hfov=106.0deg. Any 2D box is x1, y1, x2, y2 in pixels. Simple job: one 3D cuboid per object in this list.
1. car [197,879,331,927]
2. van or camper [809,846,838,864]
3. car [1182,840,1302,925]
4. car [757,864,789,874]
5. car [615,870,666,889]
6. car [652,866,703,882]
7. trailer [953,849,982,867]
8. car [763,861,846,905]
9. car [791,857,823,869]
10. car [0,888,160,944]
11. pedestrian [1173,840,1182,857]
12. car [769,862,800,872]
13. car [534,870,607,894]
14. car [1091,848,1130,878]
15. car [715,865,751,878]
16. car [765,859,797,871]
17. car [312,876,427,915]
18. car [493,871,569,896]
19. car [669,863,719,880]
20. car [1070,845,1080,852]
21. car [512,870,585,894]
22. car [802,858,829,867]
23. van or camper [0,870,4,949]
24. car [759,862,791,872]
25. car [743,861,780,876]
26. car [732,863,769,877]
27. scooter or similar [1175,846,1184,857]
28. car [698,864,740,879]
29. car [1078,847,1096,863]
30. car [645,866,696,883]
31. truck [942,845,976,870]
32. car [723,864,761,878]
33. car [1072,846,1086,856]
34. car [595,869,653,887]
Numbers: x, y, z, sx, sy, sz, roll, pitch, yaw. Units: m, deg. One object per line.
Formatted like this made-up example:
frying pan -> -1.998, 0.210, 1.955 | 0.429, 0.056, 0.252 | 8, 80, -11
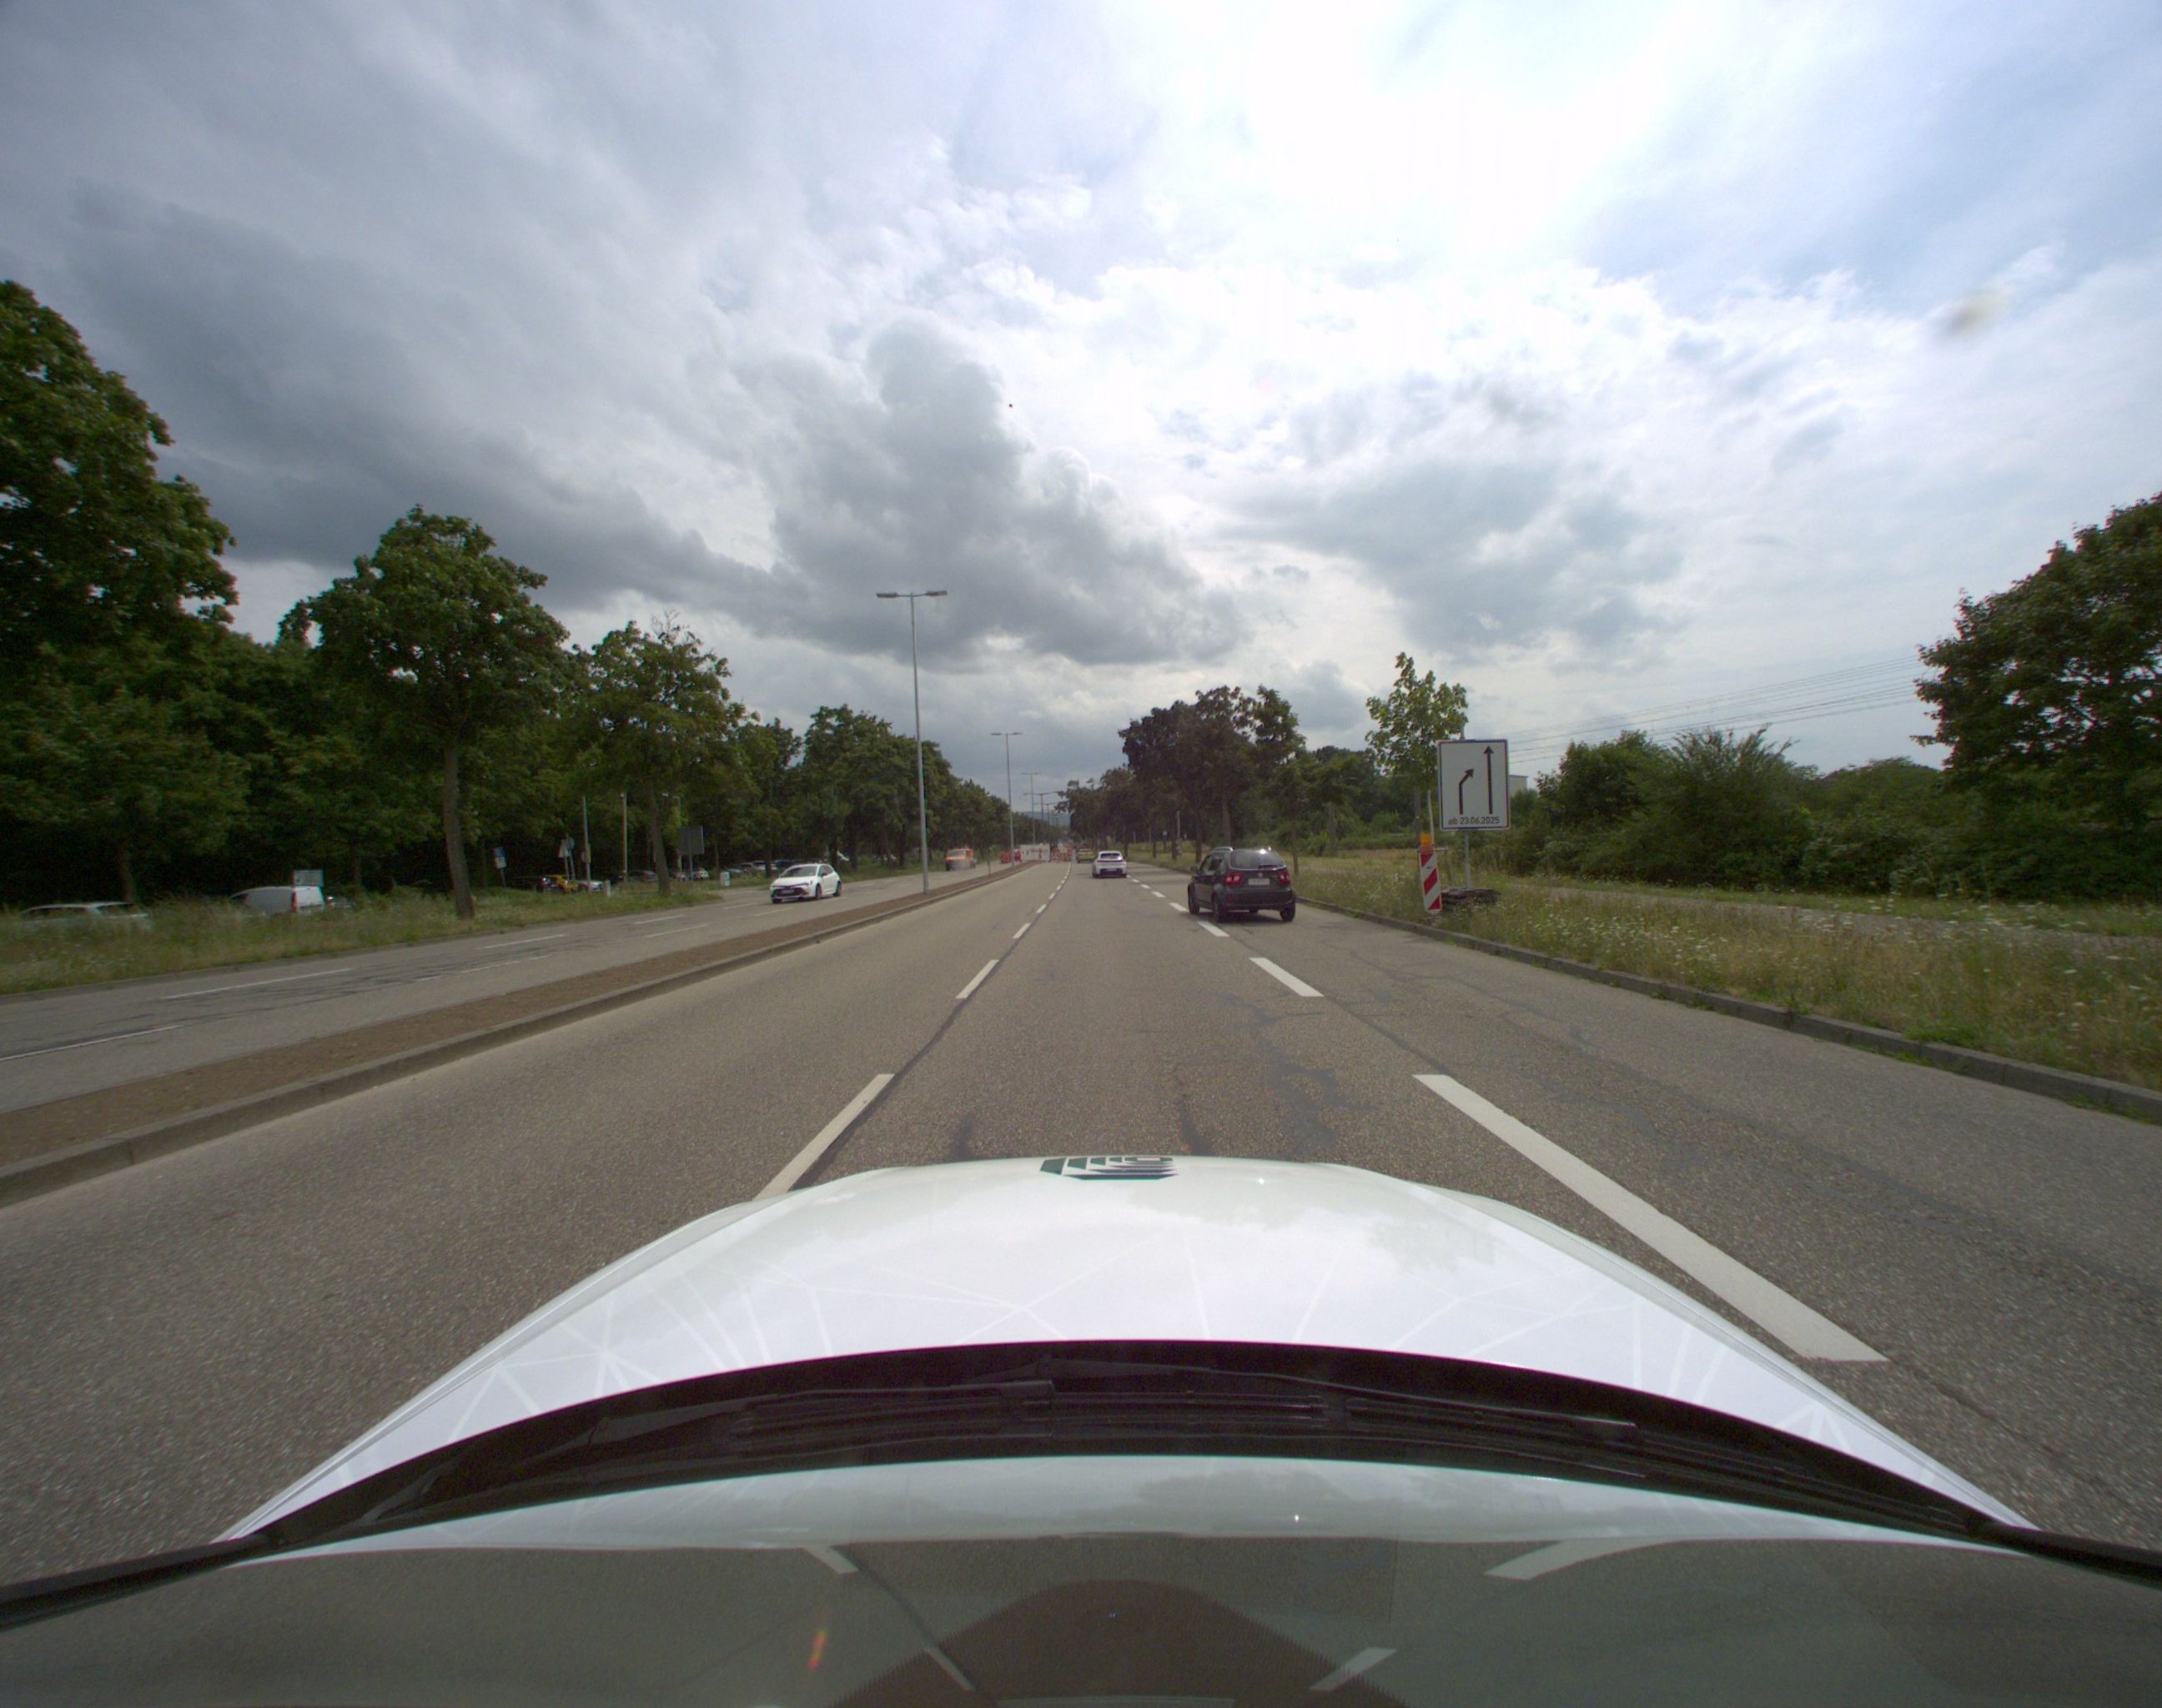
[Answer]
car -> -36.965, 2.179, 36.927 | 3.974, 1.887, 1.939 | -2, 1, 0
van or camper -> -41.213, 0.174, 130.392 | 3.974, 2.756, 1.926 | -2, 1, -1
car -> 3.509, 0.547, 18.445 | 1.700, 1.668, 3.996 | -1, 1, -3
car -> -37.884, 1.847, 100.206 | 3.354, 1.112, 1.442 | -2, 1, 1
car -> -38.927, 2.241, 71.982 | 3.635, 1.411, 1.518 | -2, 1, 2
car -> -39.121, 1.919, 78.942 | 3.971, 1.360, 1.823 | -2, 1, 2
trailer -> -11.071, 0.371, 79.686 | 2.055, 1.689, 3.896 | -3, 0, 2
car -> -10.955, 1.119, 32.599 | 1.710, 1.420, 4.161 | -4, 1, 1
car -> -38.358, 1.273, 114.082 | 3.758, 1.425, 1.967 | -2, 1, 2
car -> -36.441, 2.213, 29.462 | 3.974, 1.716, 1.886 | -2, 1, -1
pedestrian -> 10.094, -0.581, 85.169 | 0.689, 1.695, 0.932 | -2, 1, -5
car -> -38.238, 1.651, 105.006 | 3.354, 1.094, 1.442 | -2, 1, 1
car -> -37.756, 2.057, 60.303 | 4.165, 1.498, 1.886 | -2, 1, 1
car -> 1.574, 0.473, 44.786 | 1.763, 1.464, 3.996 | -2, 1, -3
car -> -38.266, 1.917, 89.596 | 3.281, 1.206, 1.518 | -2, 1, 2
car -> -38.140, 1.418, 103.440 | 3.536, 1.411, 1.322 | -2, 1, 2
car -> -36.347, 2.090, 41.683 | 3.974, 1.713, 2.046 | -2, 1, 0
car -> -37.829, 2.024, 56.101 | 3.972, 1.498, 1.786 | -2, 1, 1
car -> -38.648, 1.746, 81.467 | 3.968, 1.410, 2.003 | -2, 1, 4
car -> -1.582, -1.465, 206.882 | 2.197, 1.683, 4.003 | -2, 1, 2
car -> -37.885, 1.956, 57.959 | 3.972, 1.498, 1.786 | -2, 1, 1
car -> -38.214, 1.243, 117.307 | 3.354, 1.232, 1.442 | -2, 1, 1
van or camper -> -36.105, 1.885, 22.916 | 2.463, 2.540, 6.722 | -2, 1, 1
car -> -38.132, 1.578, 101.521 | 3.354, 1.128, 1.442 | -2, 1, 1
car -> -38.421, 1.730, 97.873 | 3.635, 1.519, 1.884 | -2, 1, 2
car -> -38.687, 1.891, 95.265 | 3.635, 1.411, 1.518 | -2, 1, 2
scooter or similar -> 10.178, -0.295, 84.240 | 0.680, 1.129, 0.932 | -2, 1, -5
car -> -38.704, 1.844, 87.200 | 3.631, 1.360, 1.709 | -2, 1, 2
car -> 0.642, 0.066, 84.576 | 1.787, 1.562, 4.002 | -2, 1, 1
car -> -38.752, 1.947, 76.932 | 3.971, 1.360, 1.668 | -2, 1, 2
truck -> -11.185, 0.299, 75.111 | 2.081, 1.994, 6.040 | -3, 1, 1
car -> -38.647, 1.897, 92.852 | 3.635, 1.411, 1.518 | -2, 1, 2
car -> -0.197, -0.392, 103.277 | 1.661, 1.269, 4.002 | -2, 1, 1
car -> -38.601, 2.005, 68.854 | 3.973, 1.259, 1.564 | -2, 1, 0
